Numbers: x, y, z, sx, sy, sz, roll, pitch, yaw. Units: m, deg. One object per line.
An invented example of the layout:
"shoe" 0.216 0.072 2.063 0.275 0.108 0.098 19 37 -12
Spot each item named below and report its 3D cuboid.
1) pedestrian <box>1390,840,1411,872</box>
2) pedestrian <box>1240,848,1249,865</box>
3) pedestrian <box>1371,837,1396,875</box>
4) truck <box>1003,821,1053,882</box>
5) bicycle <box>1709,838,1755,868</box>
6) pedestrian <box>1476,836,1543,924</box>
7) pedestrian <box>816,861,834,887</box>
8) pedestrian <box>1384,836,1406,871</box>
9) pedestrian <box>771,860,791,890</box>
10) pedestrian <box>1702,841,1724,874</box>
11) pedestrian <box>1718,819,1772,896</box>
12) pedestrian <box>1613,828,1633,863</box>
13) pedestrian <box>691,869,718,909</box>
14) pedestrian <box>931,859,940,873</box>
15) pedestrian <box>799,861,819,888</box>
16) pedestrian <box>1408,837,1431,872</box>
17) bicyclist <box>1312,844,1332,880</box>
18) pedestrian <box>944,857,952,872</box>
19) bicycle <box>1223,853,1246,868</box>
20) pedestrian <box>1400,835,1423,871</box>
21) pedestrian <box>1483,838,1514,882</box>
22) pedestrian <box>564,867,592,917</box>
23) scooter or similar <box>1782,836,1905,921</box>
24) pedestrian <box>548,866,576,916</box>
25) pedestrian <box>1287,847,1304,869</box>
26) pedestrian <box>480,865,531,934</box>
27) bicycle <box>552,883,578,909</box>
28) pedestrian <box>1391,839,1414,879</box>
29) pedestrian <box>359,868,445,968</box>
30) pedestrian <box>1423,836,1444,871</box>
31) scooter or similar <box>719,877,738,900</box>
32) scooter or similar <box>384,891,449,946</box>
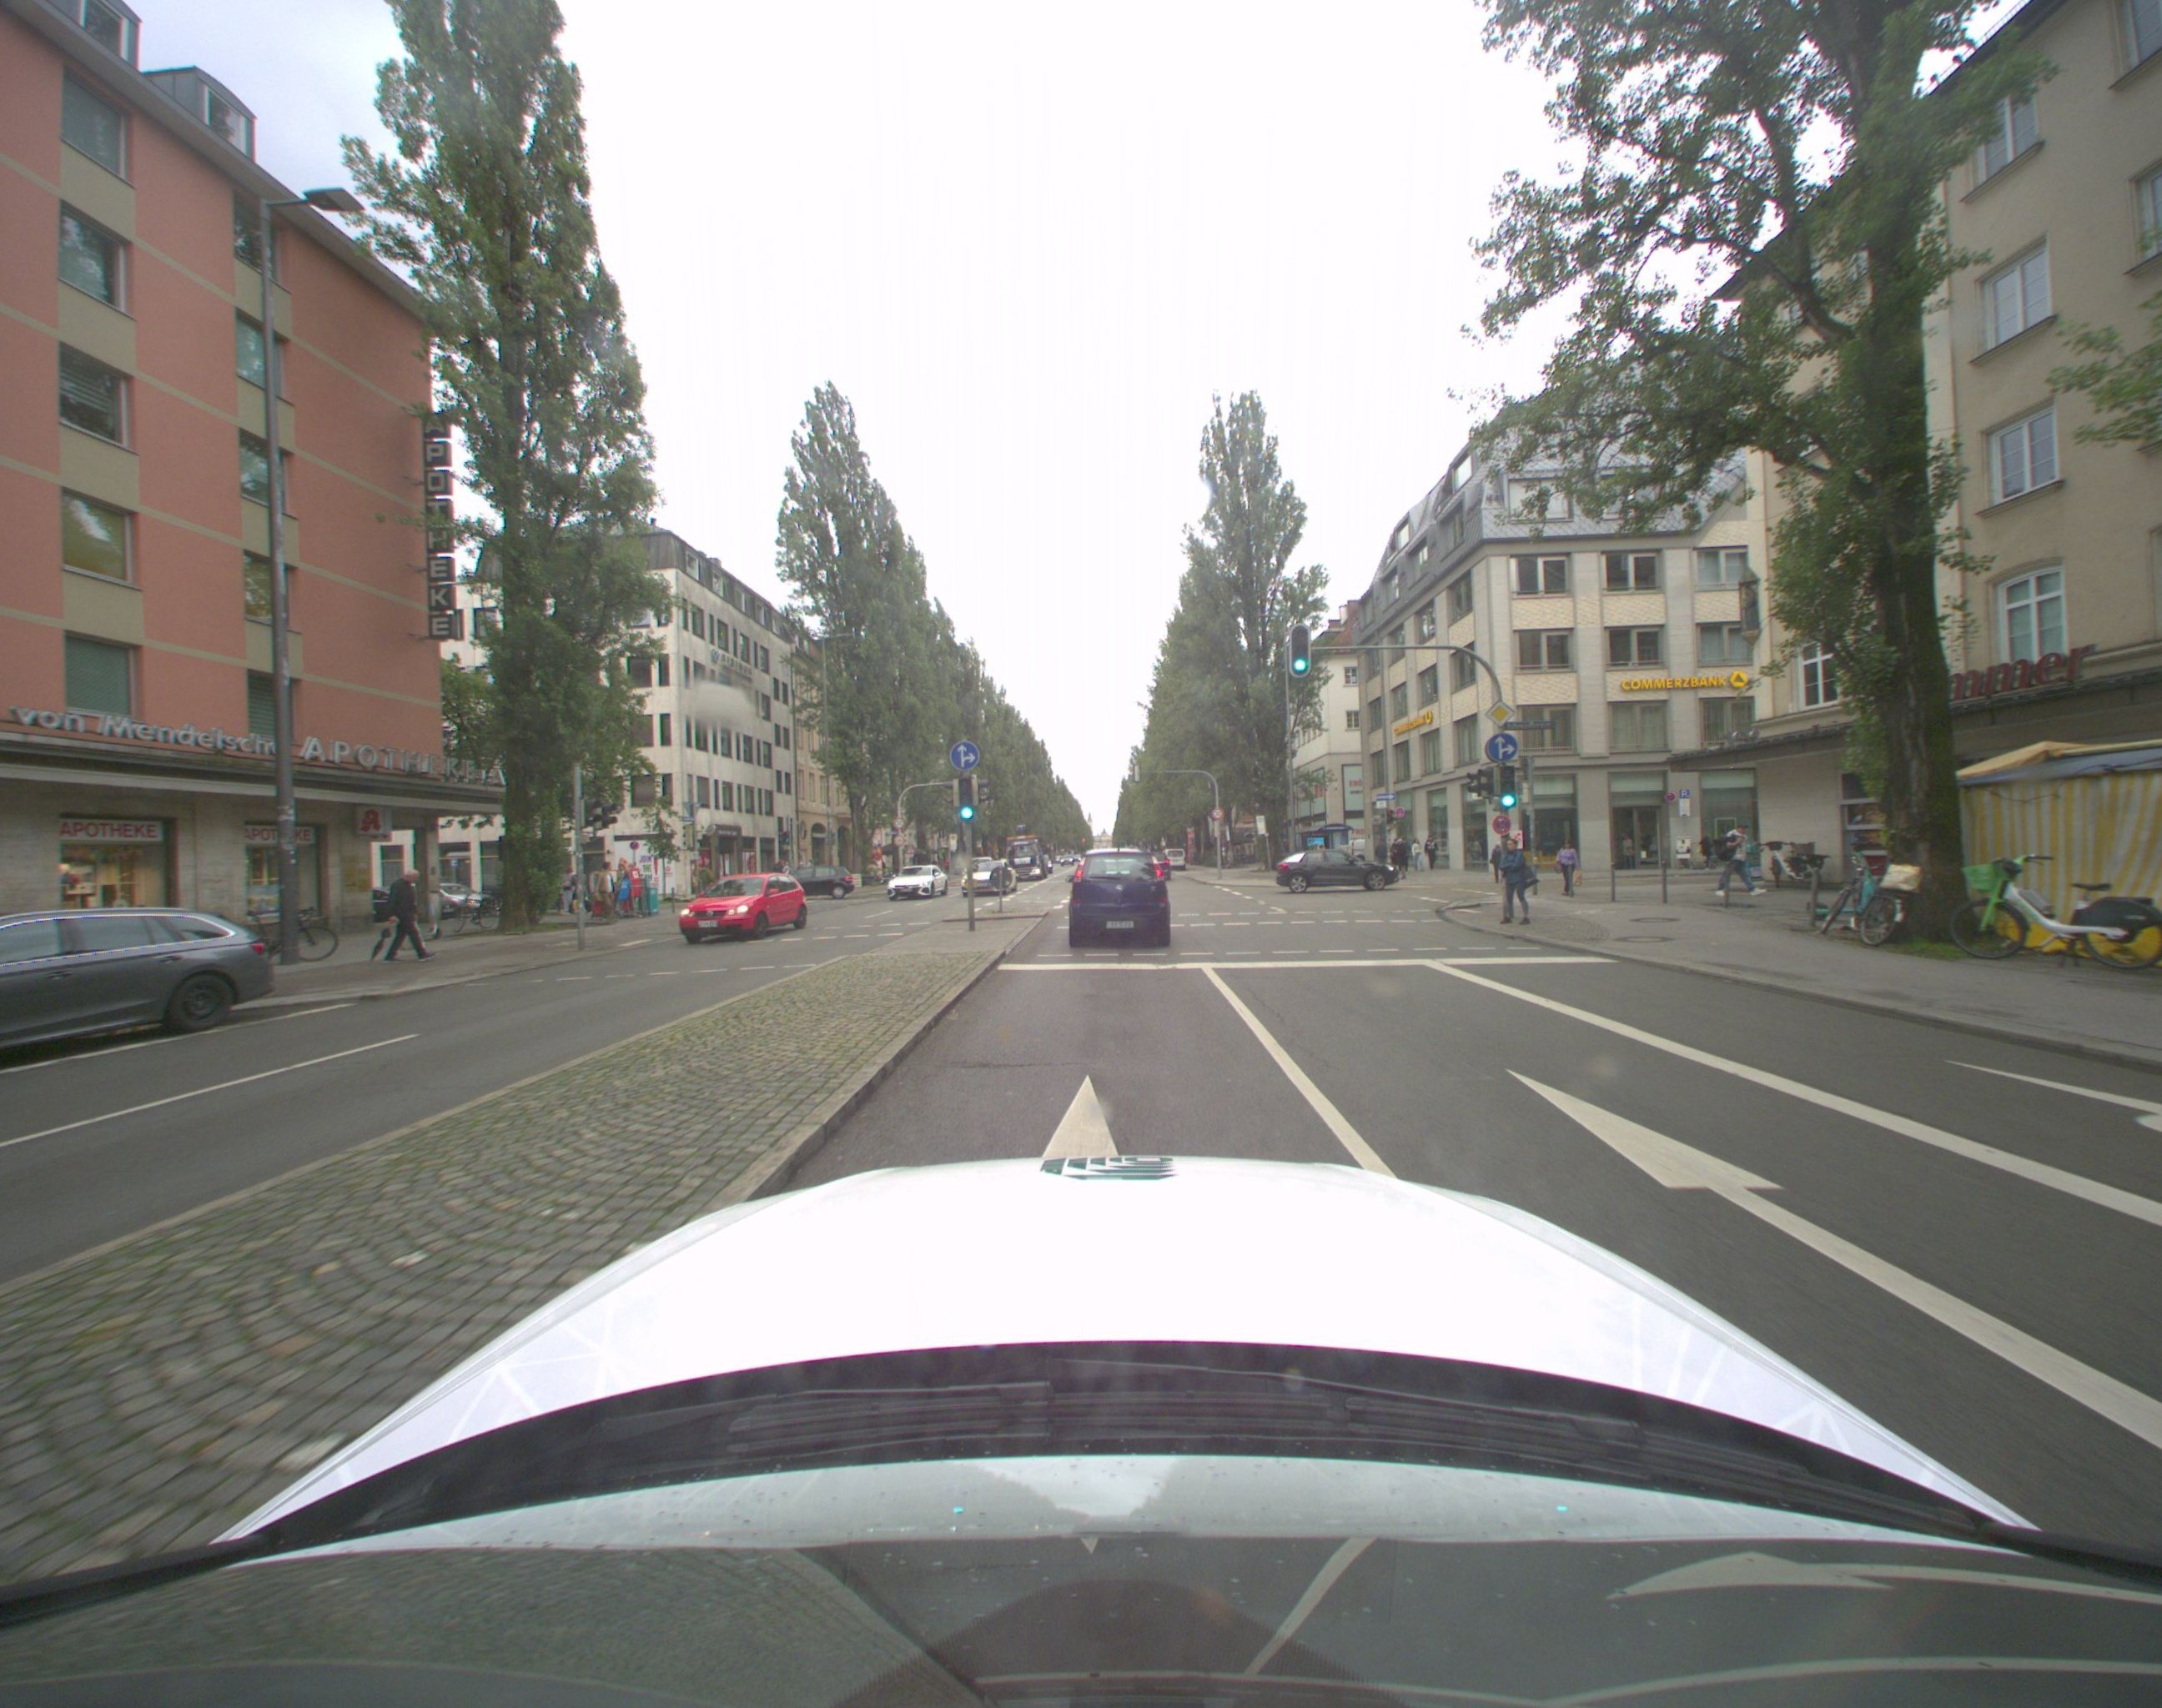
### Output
"pedestrian" 17.180 0.100 43.794 0.747 1.718 0.963 -2 0 3
"pedestrian" 18.267 0.238 91.043 0.823 1.841 1.100 -2 0 2
"pedestrian" 14.718 0.080 39.661 0.815 1.818 0.890 -2 0 0
"truck" -3.422 -0.160 54.745 2.454 3.670 8.442 -2 0 2
"bicycle" 27.922 -0.034 34.916 1.737 1.212 0.447 -2 0 -9
"pedestrian" 8.196 0.484 15.609 0.763 1.609 0.863 -2 0 -3
"pedestrian" -16.098 1.255 51.301 0.775 1.618 0.935 -2 0 1
"pedestrian" 15.838 -0.017 41.114 0.747 1.758 0.859 -2 -2 3
"pedestrian" -18.196 1.282 49.415 0.797 1.787 0.912 0 0 2
"pedestrian" 26.808 0.144 34.552 0.442 1.405 0.584 -2 0 -2
"pedestrian" 15.364 0.089 18.848 0.849 1.703 0.670 -4 -3 42
"pedestrian" 24.560 -0.381 36.905 0.442 1.531 0.584 -2 0 -2
"pedestrian" -16.603 1.525 35.927 0.724 1.740 0.942 -1 -1 1
"pedestrian" -16.502 1.325 92.429 0.766 1.537 0.805 -2 0 1
"pedestrian" -16.347 1.246 48.960 0.748 1.567 0.989 -2 0 1
"pedestrian" 17.510 0.004 42.167 0.747 1.758 1.018 -2 0 3
"bicyclist" 10.792 0.370 36.515 0.619 1.588 0.753 -2 0 1
"pedestrian" -15.442 1.221 94.562 0.731 1.673 0.953 -2 0 1
"bicycle" 12.490 0.511 66.338 1.737 1.110 0.447 -2 0 -9
"pedestrian" 16.664 -0.028 41.056 0.747 1.758 0.859 -2 -2 3
"pedestrian" 16.183 0.232 31.589 0.746 1.636 0.734 -4 -2 4
"pedestrian" -17.185 1.290 27.816 0.627 1.688 0.519 -1 -1 2
"scooter or similar" 11.805 0.366 12.660 0.407 1.243 1.365 -2 0 -14
"pedestrian" -17.911 1.259 28.104 0.584 1.691 0.514 -2 0 1
"pedestrian" 16.625 0.338 63.046 0.992 1.673 0.816 -2 0 -38
"pedestrian" -15.303 1.185 21.681 0.721 1.771 0.778 -2 0 2
"bicycle" -25.791 2.100 40.757 0.450 1.184 2.053 -2 0 -14
"pedestrian" 14.282 0.222 36.194 0.705 1.758 0.753 -2 0 3
"pedestrian" -12.749 1.175 15.304 0.729 1.796 0.997 -1 -1 20
"pedestrian" 18.302 -0.035 42.343 0.747 1.758 0.711 -2 0 3
"scooter or similar" -17.219 1.700 39.791 0.811 1.093 0.274 -1 -1 -3
"scooter or similar" -15.616 1.491 19.175 0.406 1.173 1.402 -2 0 -2
